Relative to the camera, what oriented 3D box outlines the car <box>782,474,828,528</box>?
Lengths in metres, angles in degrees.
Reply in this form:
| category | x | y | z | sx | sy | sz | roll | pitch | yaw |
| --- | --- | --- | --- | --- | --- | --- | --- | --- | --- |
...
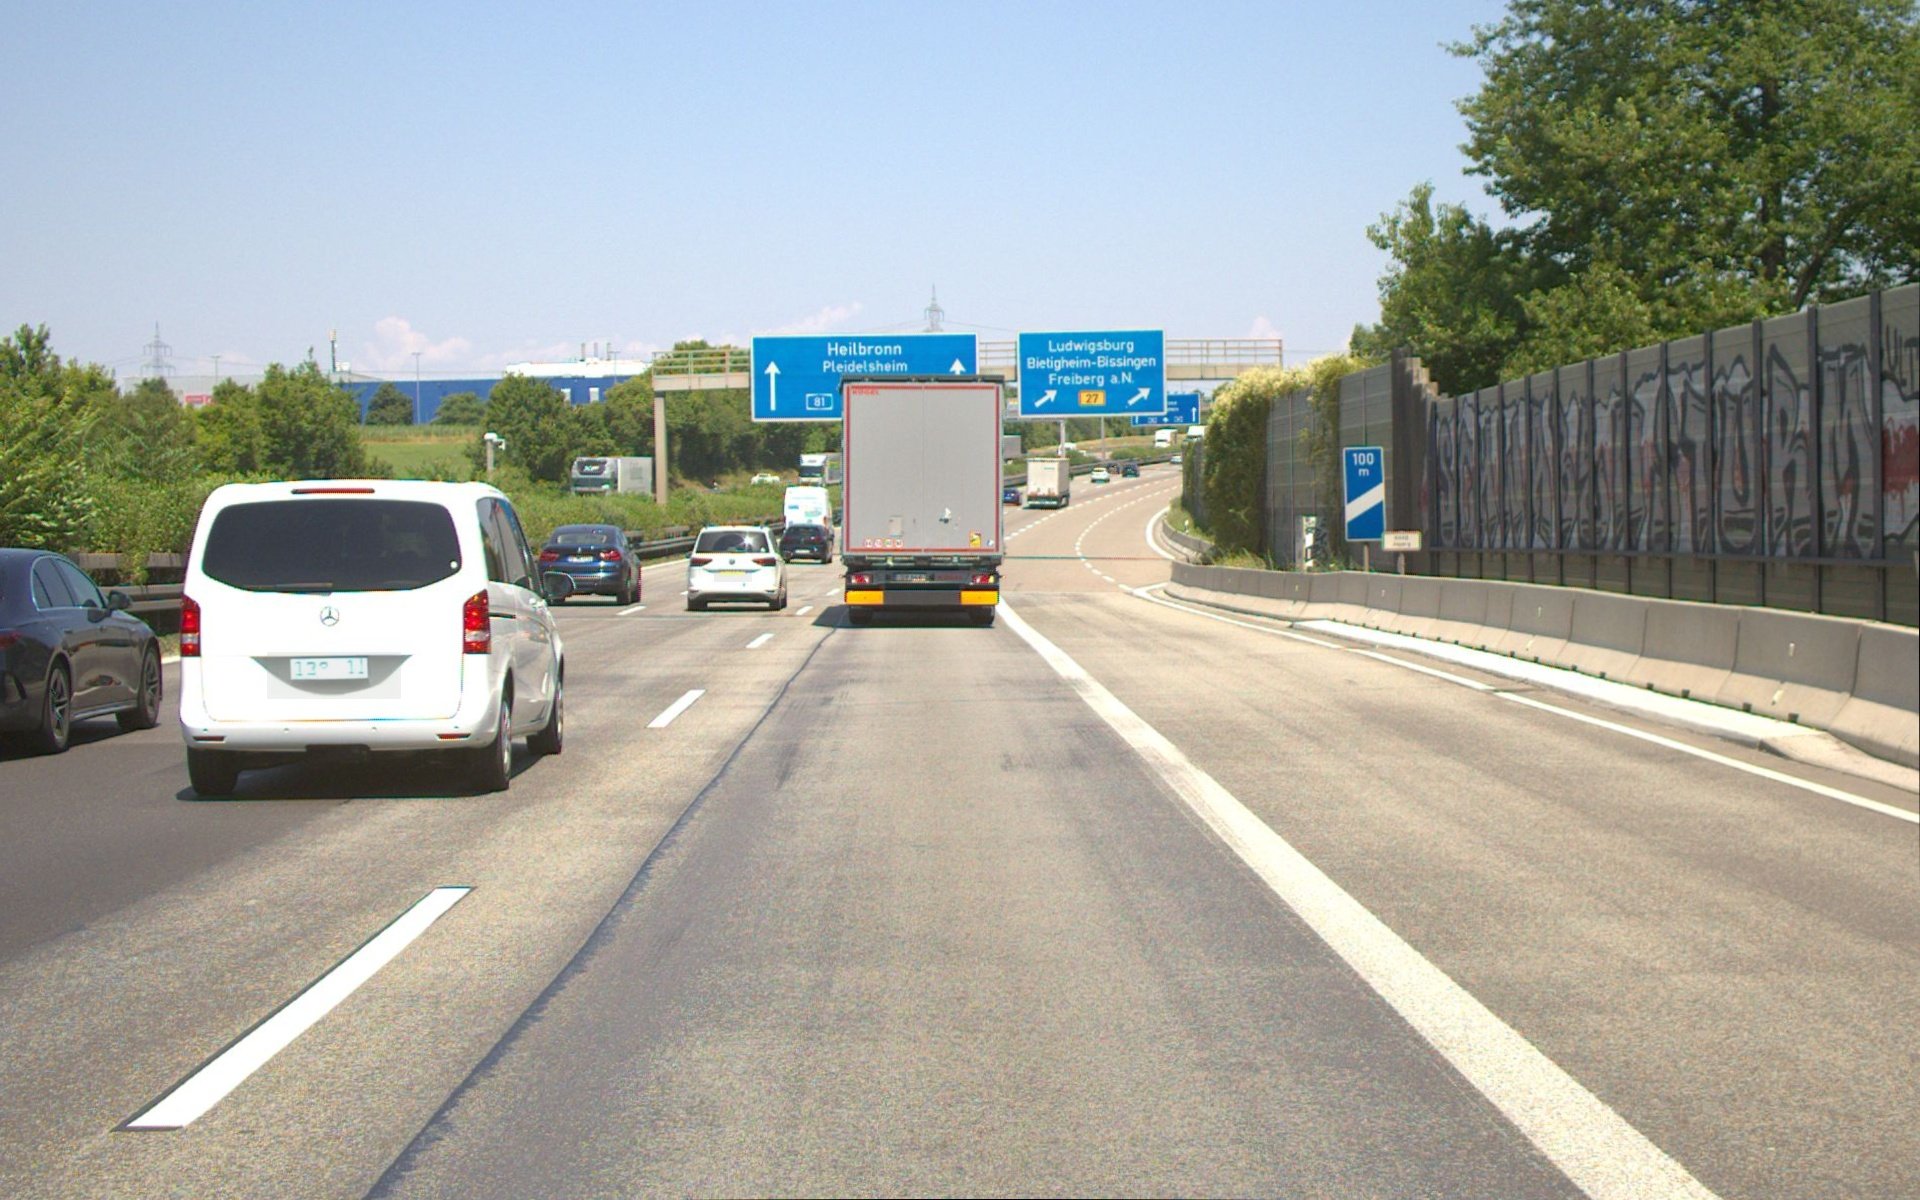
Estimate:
| category | x | y | z | sx | sy | sz | roll | pitch | yaw |
| --- | --- | --- | --- | --- | --- | --- | --- | --- | --- |
| car | -7.129 | -4.549 | 158.471 | 1.993 | 2.366 | 4.000 | 1 | 0 | -1 |

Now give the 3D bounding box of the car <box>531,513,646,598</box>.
| category | x | y | z | sx | sy | sz | roll | pitch | yaw |
| --- | --- | --- | --- | --- | --- | --- | --- | --- | --- |
| car | -7.582 | -0.918 | 70.532 | 1.904 | 1.683 | 4.631 | 0 | 1 | -1 |

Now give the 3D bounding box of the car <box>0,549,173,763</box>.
| category | x | y | z | sx | sy | sz | roll | pitch | yaw |
| --- | --- | --- | --- | --- | --- | --- | --- | --- | --- |
| car | -7.213 | 0.330 | 25.291 | 1.756 | 1.404 | 5.040 | 0 | 1 | -1 |

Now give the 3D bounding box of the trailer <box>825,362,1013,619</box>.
| category | x | y | z | sx | sy | sz | roll | pitch | yaw |
| --- | --- | --- | --- | --- | --- | --- | --- | --- | --- |
| trailer | -0.629 | -1.808 | 59.561 | 2.928 | 4.001 | 12.039 | 0 | 1 | 0 |

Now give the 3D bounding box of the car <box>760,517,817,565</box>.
| category | x | y | z | sx | sy | sz | roll | pitch | yaw |
| --- | --- | --- | --- | --- | --- | --- | --- | --- | --- |
| car | -6.214 | -2.144 | 124.761 | 1.904 | 1.683 | 4.631 | 0 | 1 | -1 |

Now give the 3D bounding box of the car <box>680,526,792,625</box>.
| category | x | y | z | sx | sy | sz | roll | pitch | yaw |
| --- | --- | --- | --- | --- | --- | --- | --- | --- | --- |
| car | -4.279 | -0.497 | 66.241 | 1.904 | 1.845 | 4.631 | 0 | 1 | -1 |

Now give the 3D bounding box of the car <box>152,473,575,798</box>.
| category | x | y | z | sx | sy | sz | roll | pitch | yaw |
| --- | --- | --- | --- | --- | --- | --- | --- | --- | --- |
| car | -3.646 | 0.161 | 21.850 | 1.930 | 1.845 | 4.693 | 0 | 1 | -1 |
